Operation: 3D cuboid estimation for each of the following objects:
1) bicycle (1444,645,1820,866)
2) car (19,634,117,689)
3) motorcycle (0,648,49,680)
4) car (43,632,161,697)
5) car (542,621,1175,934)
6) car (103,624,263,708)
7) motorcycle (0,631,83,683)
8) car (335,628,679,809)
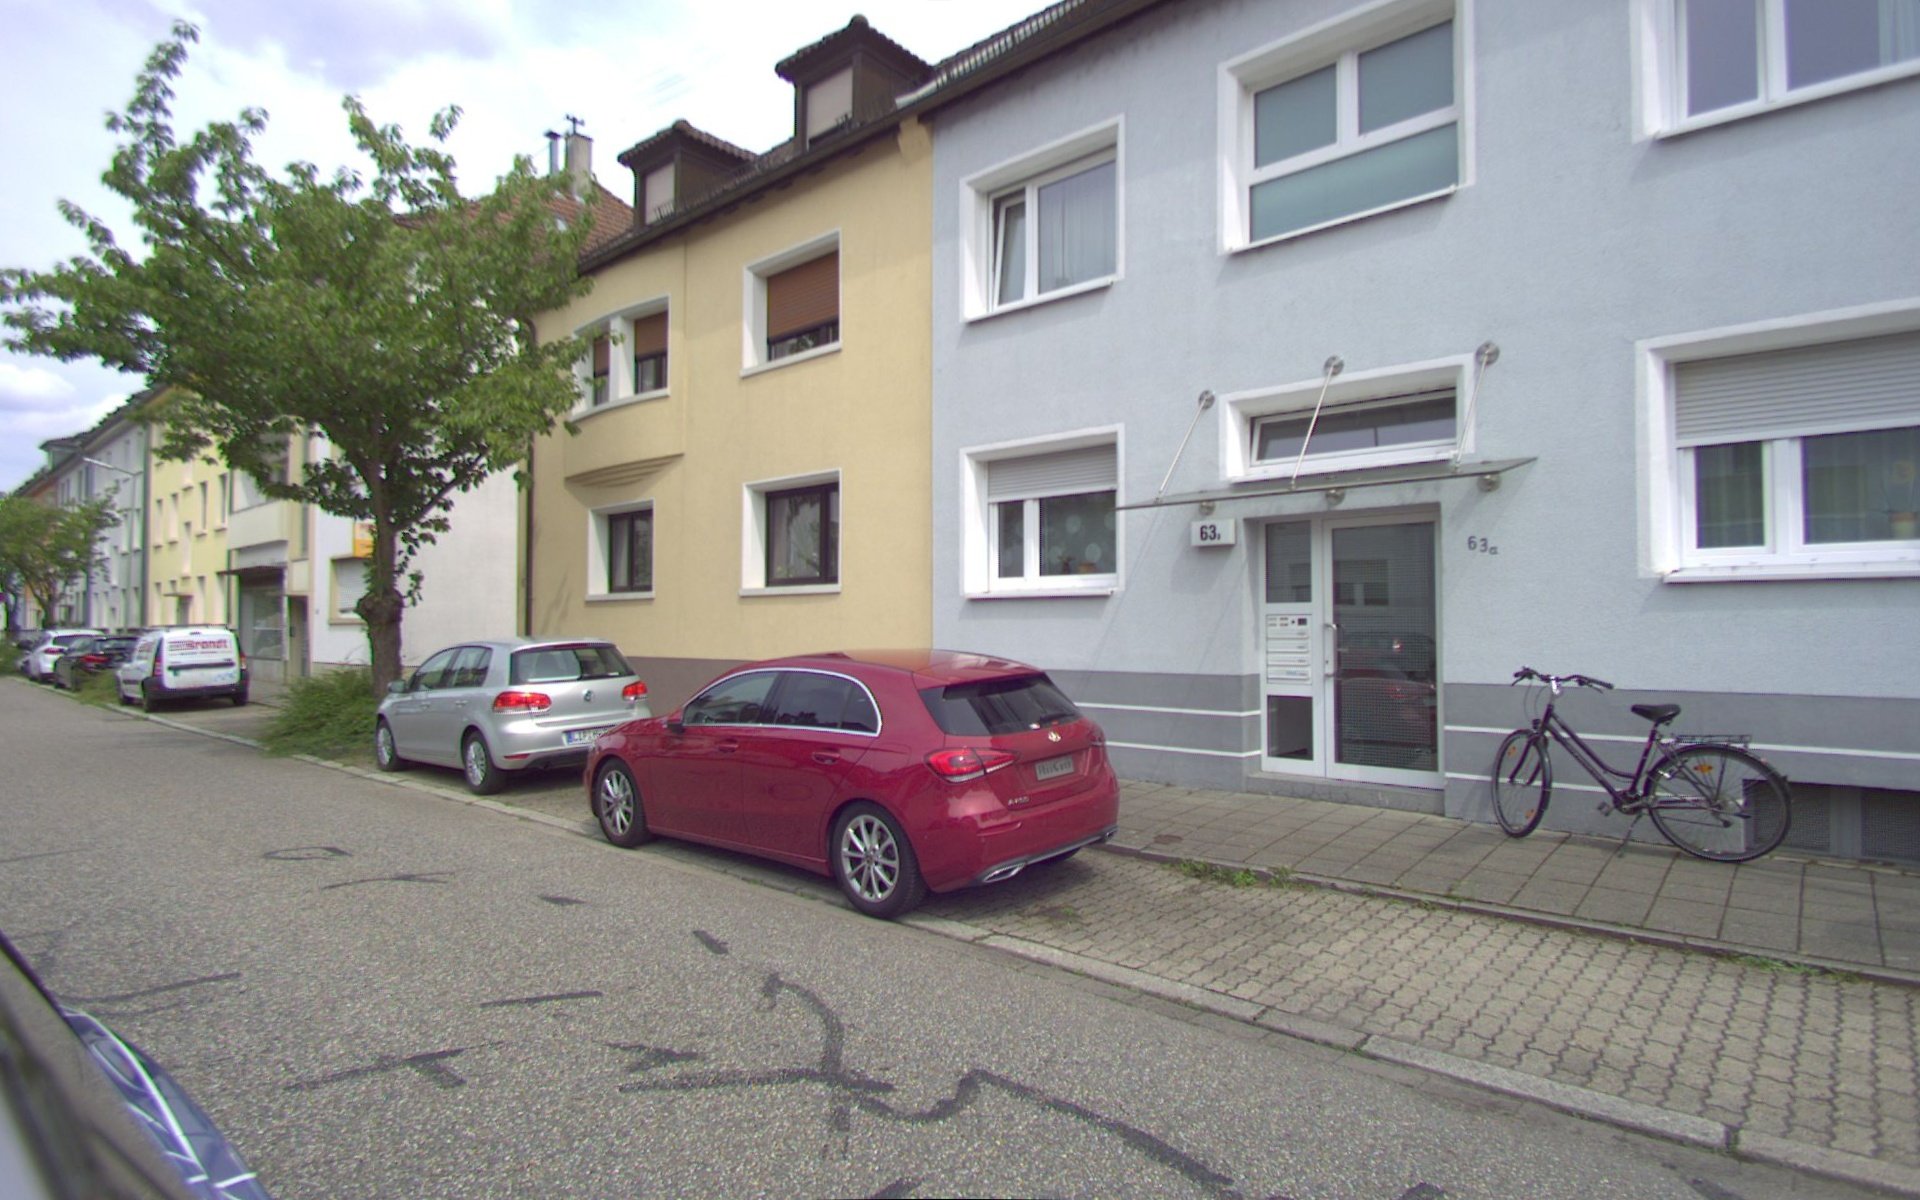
[{"bbox_3d":[4.062,0.875,6.250,1.872,1.162,0.485,-2,-4,41],"label":"bicycle"},{"bbox_3d":[-27.446,1.831,31.098,4.254,1.568,1.738,-2,-3,42],"label":"car"},{"bbox_3d":[-36.195,2.452,38.760,0.591,1.201,1.902,0,-3,15],"label":"motorcycle"},{"bbox_3d":[-22.709,1.638,26.726,4.811,1.503,1.771,-1,-1,42],"label":"car"},{"bbox_3d":[-0.951,0.951,7.100,4.511,1.497,1.857,-2,-4,42],"label":"car"},{"bbox_3d":[-16.557,1.353,21.492,4.381,1.593,1.898,-2,-4,42],"label":"car"},{"bbox_3d":[-31.000,1.903,33.842,2.438,1.689,0.939,0,-3,-1],"label":"motorcycle"},{"bbox_3d":[-5.005,1.098,10.883,4.274,1.402,1.753,-2,3,43],"label":"car"}]
